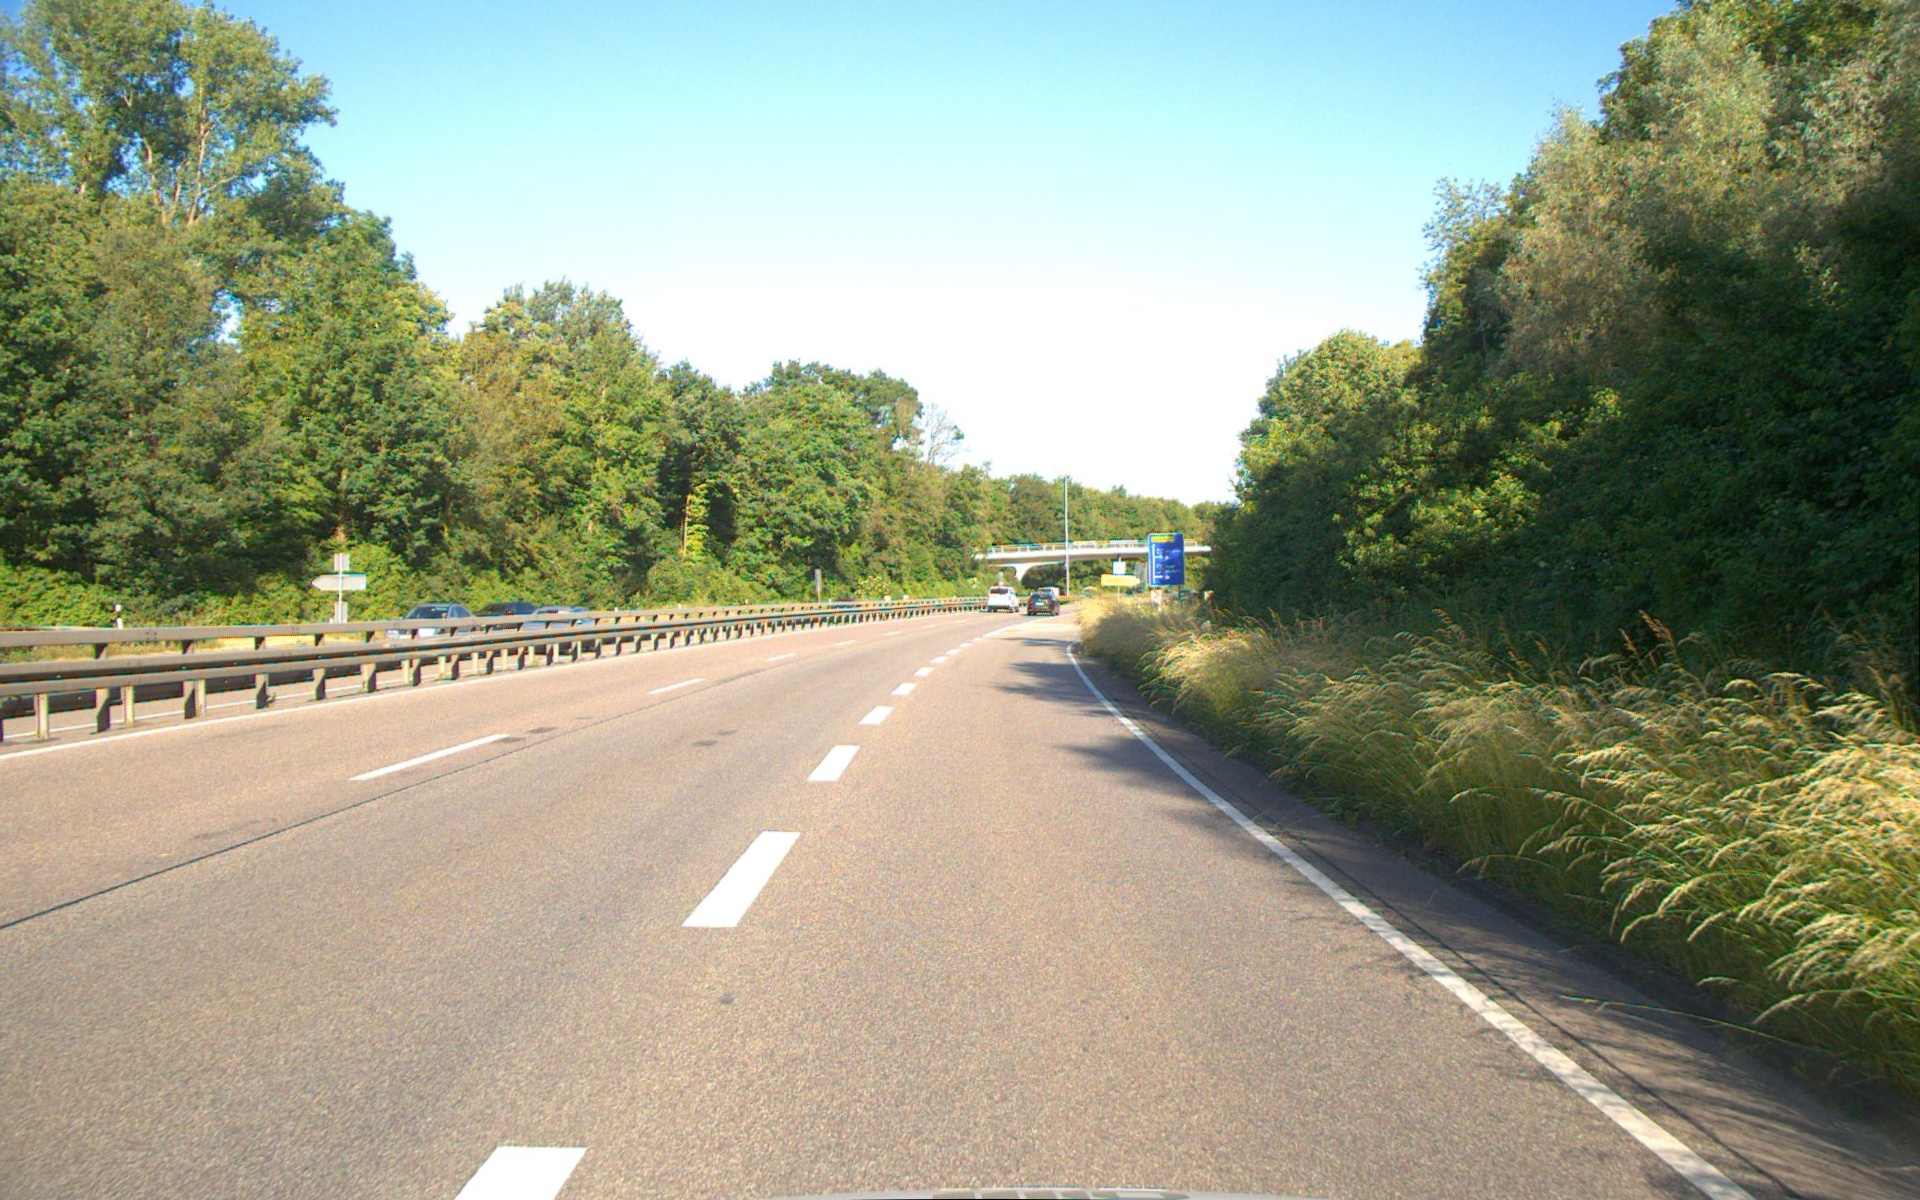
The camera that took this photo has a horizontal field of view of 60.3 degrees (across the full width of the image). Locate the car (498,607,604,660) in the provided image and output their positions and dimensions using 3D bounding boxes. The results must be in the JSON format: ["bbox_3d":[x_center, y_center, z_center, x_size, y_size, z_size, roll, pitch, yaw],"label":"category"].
[{"bbox_3d":[-12.630,1.009,51.333,1.952,1.539,4.425,0,0,3],"label":"car"}]

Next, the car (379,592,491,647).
[{"bbox_3d":[-16.866,0.590,53.342,1.952,1.678,4.425,0,0,3],"label":"car"}]

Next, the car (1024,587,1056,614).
[{"bbox_3d":[5.171,0.031,106.999,1.702,1.691,3.949,-1,0,8],"label":"car"}]

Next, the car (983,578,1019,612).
[{"bbox_3d":[2.885,-0.333,116.036,1.951,2.317,4.003,-1,0,10],"label":"car"}]
